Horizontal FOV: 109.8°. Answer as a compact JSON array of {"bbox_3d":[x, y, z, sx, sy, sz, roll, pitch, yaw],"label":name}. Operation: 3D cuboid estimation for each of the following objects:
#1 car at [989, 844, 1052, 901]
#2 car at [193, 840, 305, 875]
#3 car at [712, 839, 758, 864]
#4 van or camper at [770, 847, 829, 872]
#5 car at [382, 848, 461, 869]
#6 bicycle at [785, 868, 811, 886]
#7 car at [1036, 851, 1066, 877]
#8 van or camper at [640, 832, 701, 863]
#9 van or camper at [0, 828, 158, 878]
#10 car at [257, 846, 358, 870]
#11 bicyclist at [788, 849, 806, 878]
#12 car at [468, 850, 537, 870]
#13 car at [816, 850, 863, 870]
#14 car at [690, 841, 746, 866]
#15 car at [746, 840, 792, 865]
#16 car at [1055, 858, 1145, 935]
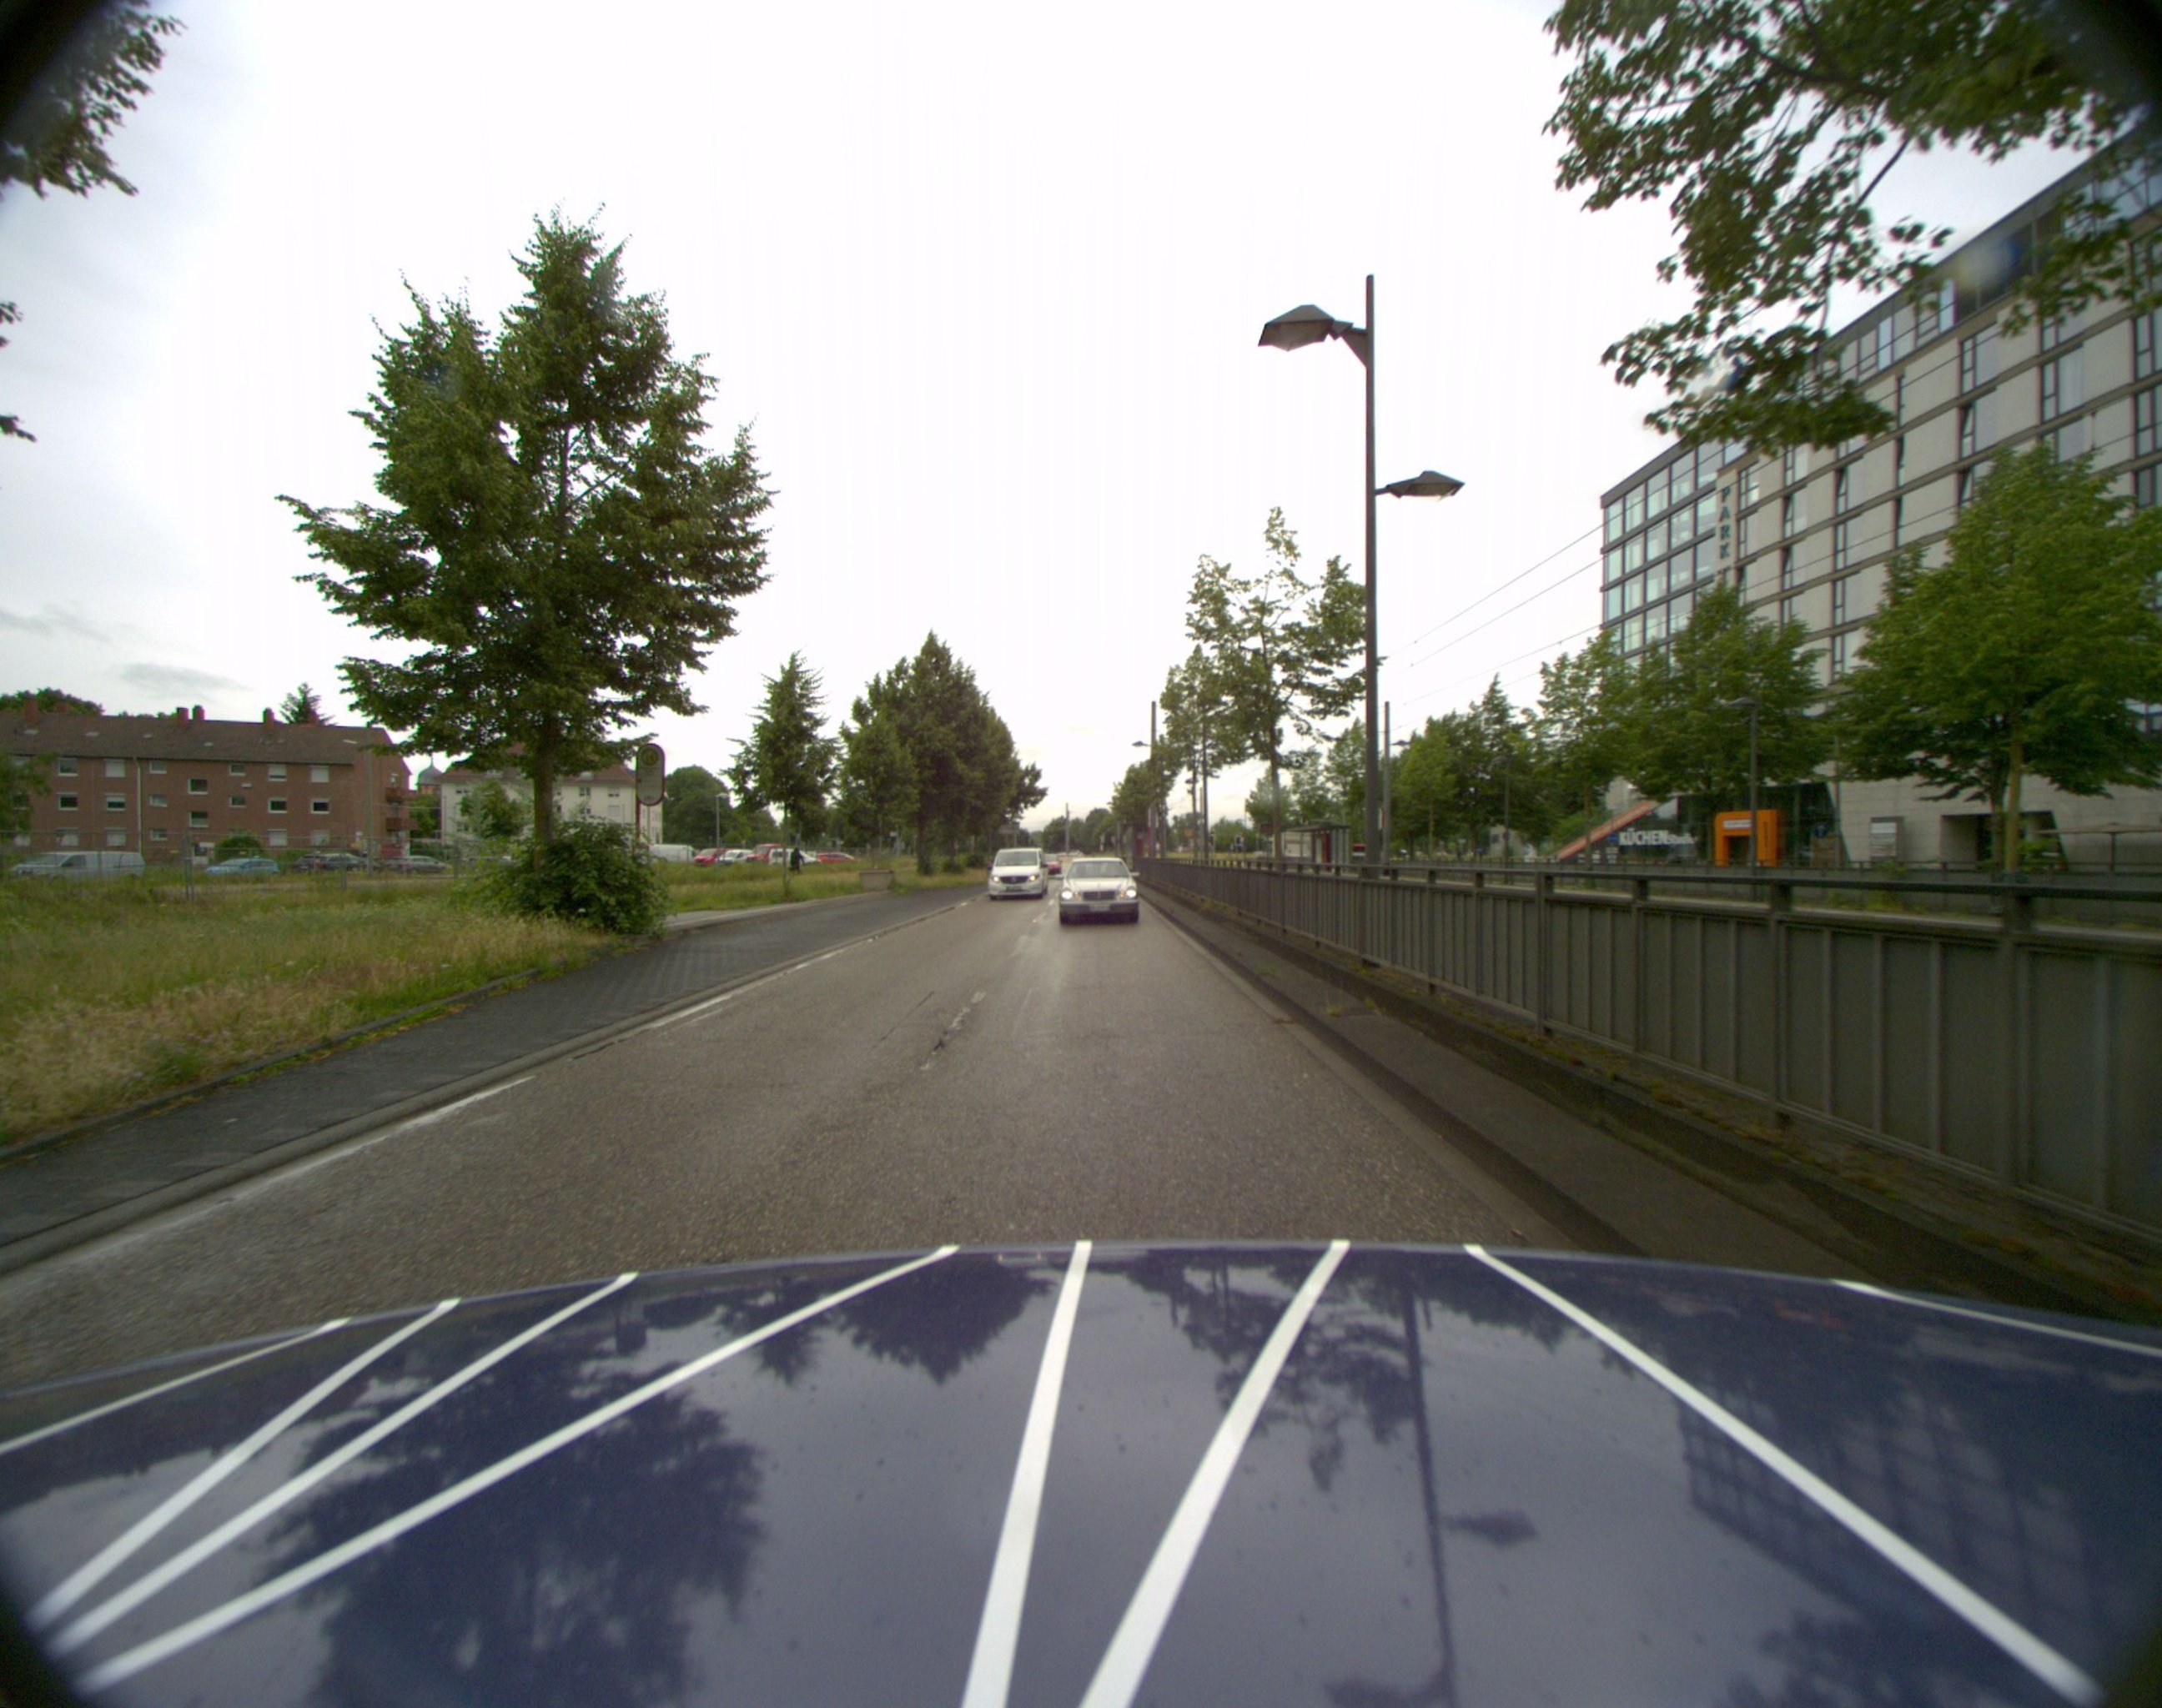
[{"bbox_3d":[-2.199,0.615,28.960,1.972,1.968,5.090,0,1,0],"label":"car"},{"bbox_3d":[-55.347,0.223,50.698,2.278,2.207,4.758,-1,0,-3],"label":"car"},{"bbox_3d":[-32.835,-0.257,72.242,1.997,2.297,4.003,-1,0,9],"label":"car"},{"bbox_3d":[-23.905,0.457,64.719,4.334,2.002,1.860,-1,1,-6],"label":"van or camper"},{"bbox_3d":[-48.918,0.311,56.499,1.997,1.364,4.003,-2,1,11],"label":"car"},{"bbox_3d":[-14.561,1.180,39.119,0.548,0.873,1.745,0,1,4],"label":"bicycle"},{"bbox_3d":[-2.001,0.649,51.828,1.799,1.603,4.245,0,1,2],"label":"car"},{"bbox_3d":[-41.958,-0.653,77.859,2.343,3.017,5.514,-2,1,11],"label":"van or camper"},{"bbox_3d":[-54.318,-0.054,41.408,1.919,2.521,5.258,-1,0,-6],"label":"van or camper"},{"bbox_3d":[-48.117,0.221,47.422,2.000,1.379,4.565,-2,1,-7],"label":"car"},{"bbox_3d":[-14.571,0.489,39.011,0.537,1.497,0.841,0,1,3],"label":"bicyclist"},{"bbox_3d":[-47.665,0.461,62.729,1.995,1.444,4.007,-2,1,27],"label":"car"},{"bbox_3d":[-22.781,0.532,71.646,3.802,1.696,1.680,-2,1,6],"label":"car"},{"bbox_3d":[-35.250,-0.030,73.994,2.195,2.297,5.449,-1,0,9],"label":"car"},{"bbox_3d":[-29.366,-0.145,71.555,1.996,2.297,4.004,-1,0,13],"label":"car"},{"bbox_3d":[0.418,0.852,17.267,1.738,1.451,4.607,-1,0,1],"label":"car"}]
